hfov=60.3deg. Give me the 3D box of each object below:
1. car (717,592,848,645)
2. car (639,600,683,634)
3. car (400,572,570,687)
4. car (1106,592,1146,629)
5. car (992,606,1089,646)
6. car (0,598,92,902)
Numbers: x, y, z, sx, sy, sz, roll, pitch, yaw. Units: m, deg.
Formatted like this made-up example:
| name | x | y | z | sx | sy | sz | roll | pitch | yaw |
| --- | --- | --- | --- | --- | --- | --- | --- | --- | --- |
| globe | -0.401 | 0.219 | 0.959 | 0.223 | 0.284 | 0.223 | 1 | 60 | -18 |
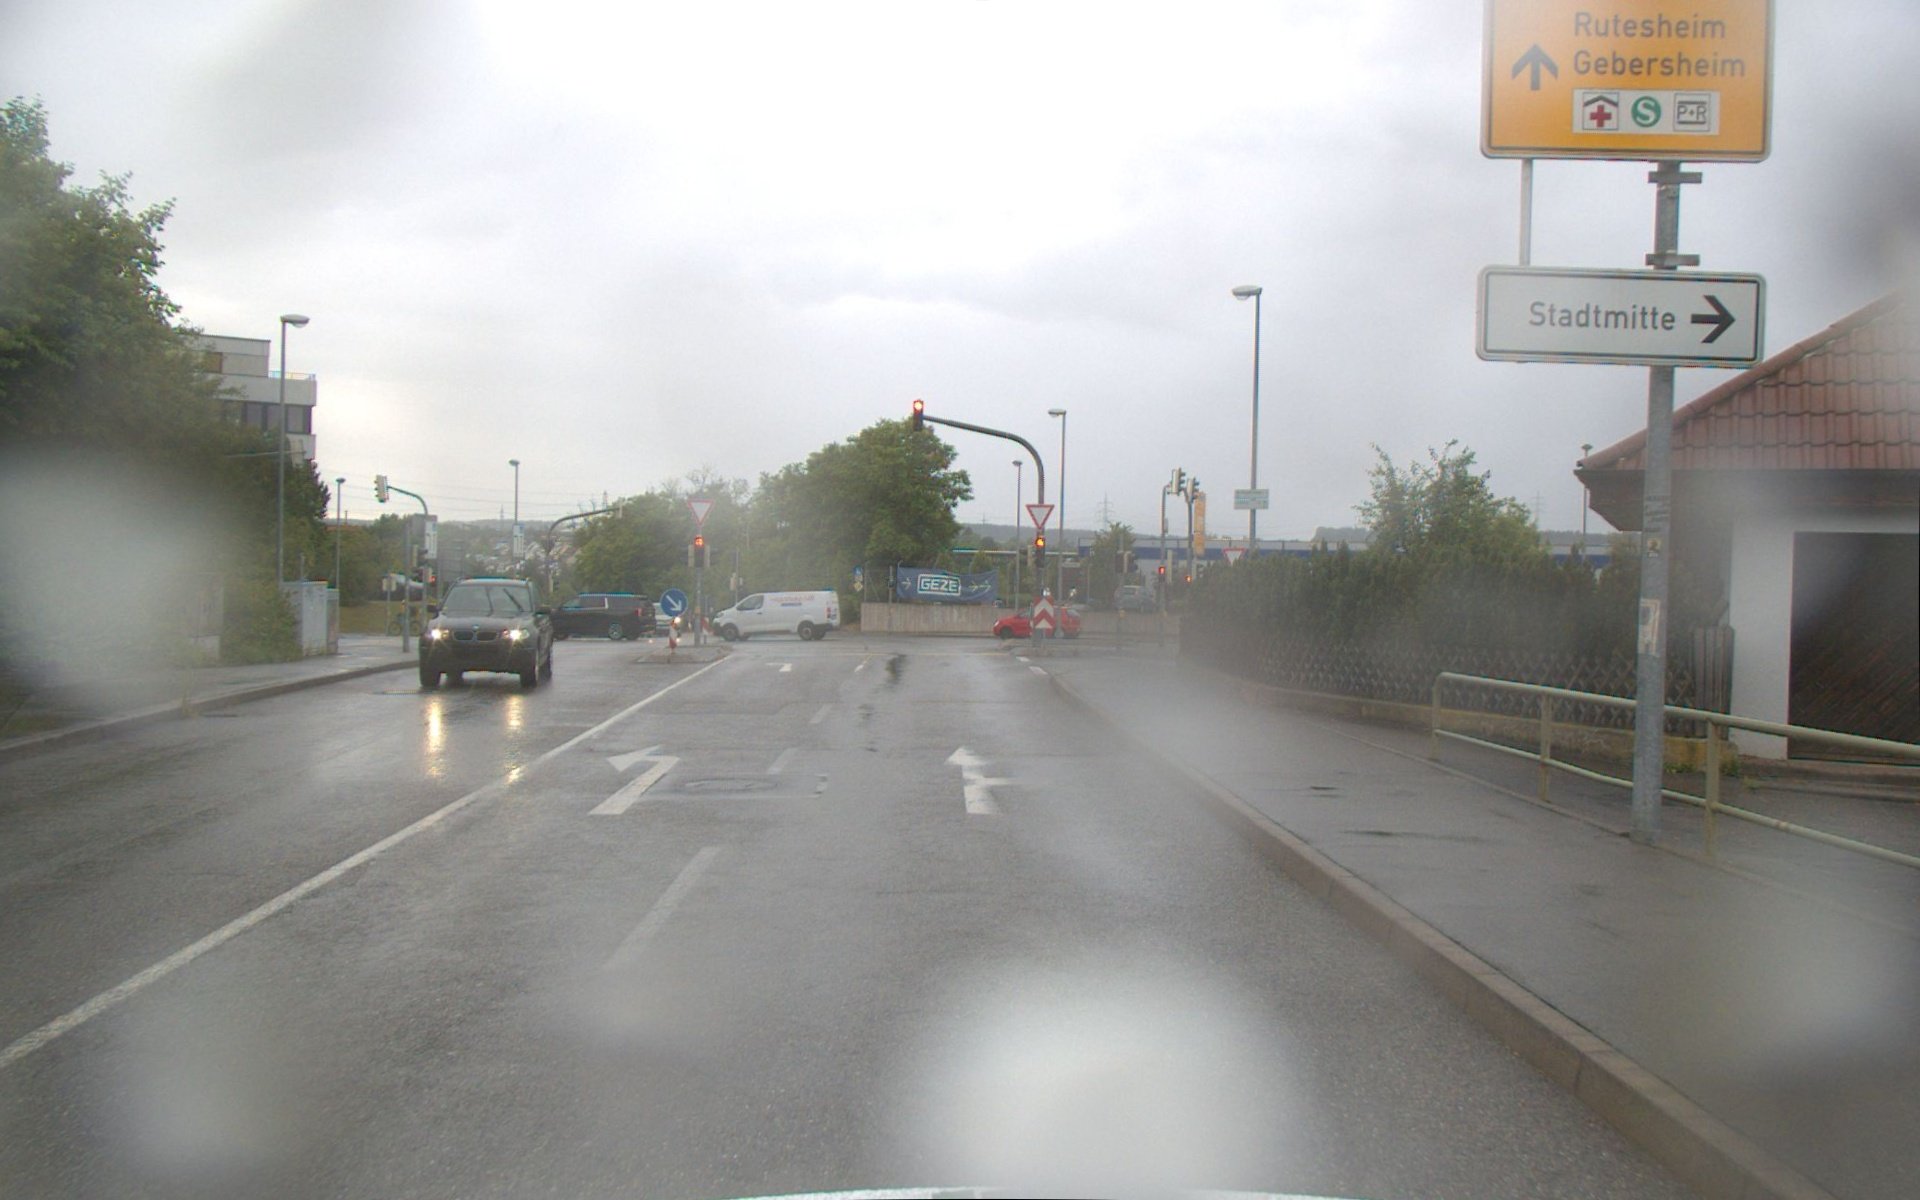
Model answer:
| name | x | y | z | sx | sy | sz | roll | pitch | yaw |
| --- | --- | --- | --- | --- | --- | --- | --- | --- | --- |
| car | -7.195 | 0.739 | 67.245 | 4.889 | 2.049 | 2.002 | 1 | 0 | 10 |
| car | -15.654 | 0.861 | 86.486 | 1.960 | 1.646 | 3.985 | 1 | 1 | -15 |
| car | -7.646 | 0.457 | 27.041 | 1.955 | 1.697 | 4.410 | 1 | 0 | -7 |
| car | 9.768 | 0.625 | 96.922 | 1.951 | 2.049 | 4.003 | 1 | -1 | 11 |
| car | 3.398 | 1.085 | 69.955 | 3.723 | 1.474 | 1.618 | 3 | 0 | 29 |
| car | -5.338 | 0.699 | 6.404 | 1.955 | 1.429 | 4.616 | 0 | 0 | -7 |
